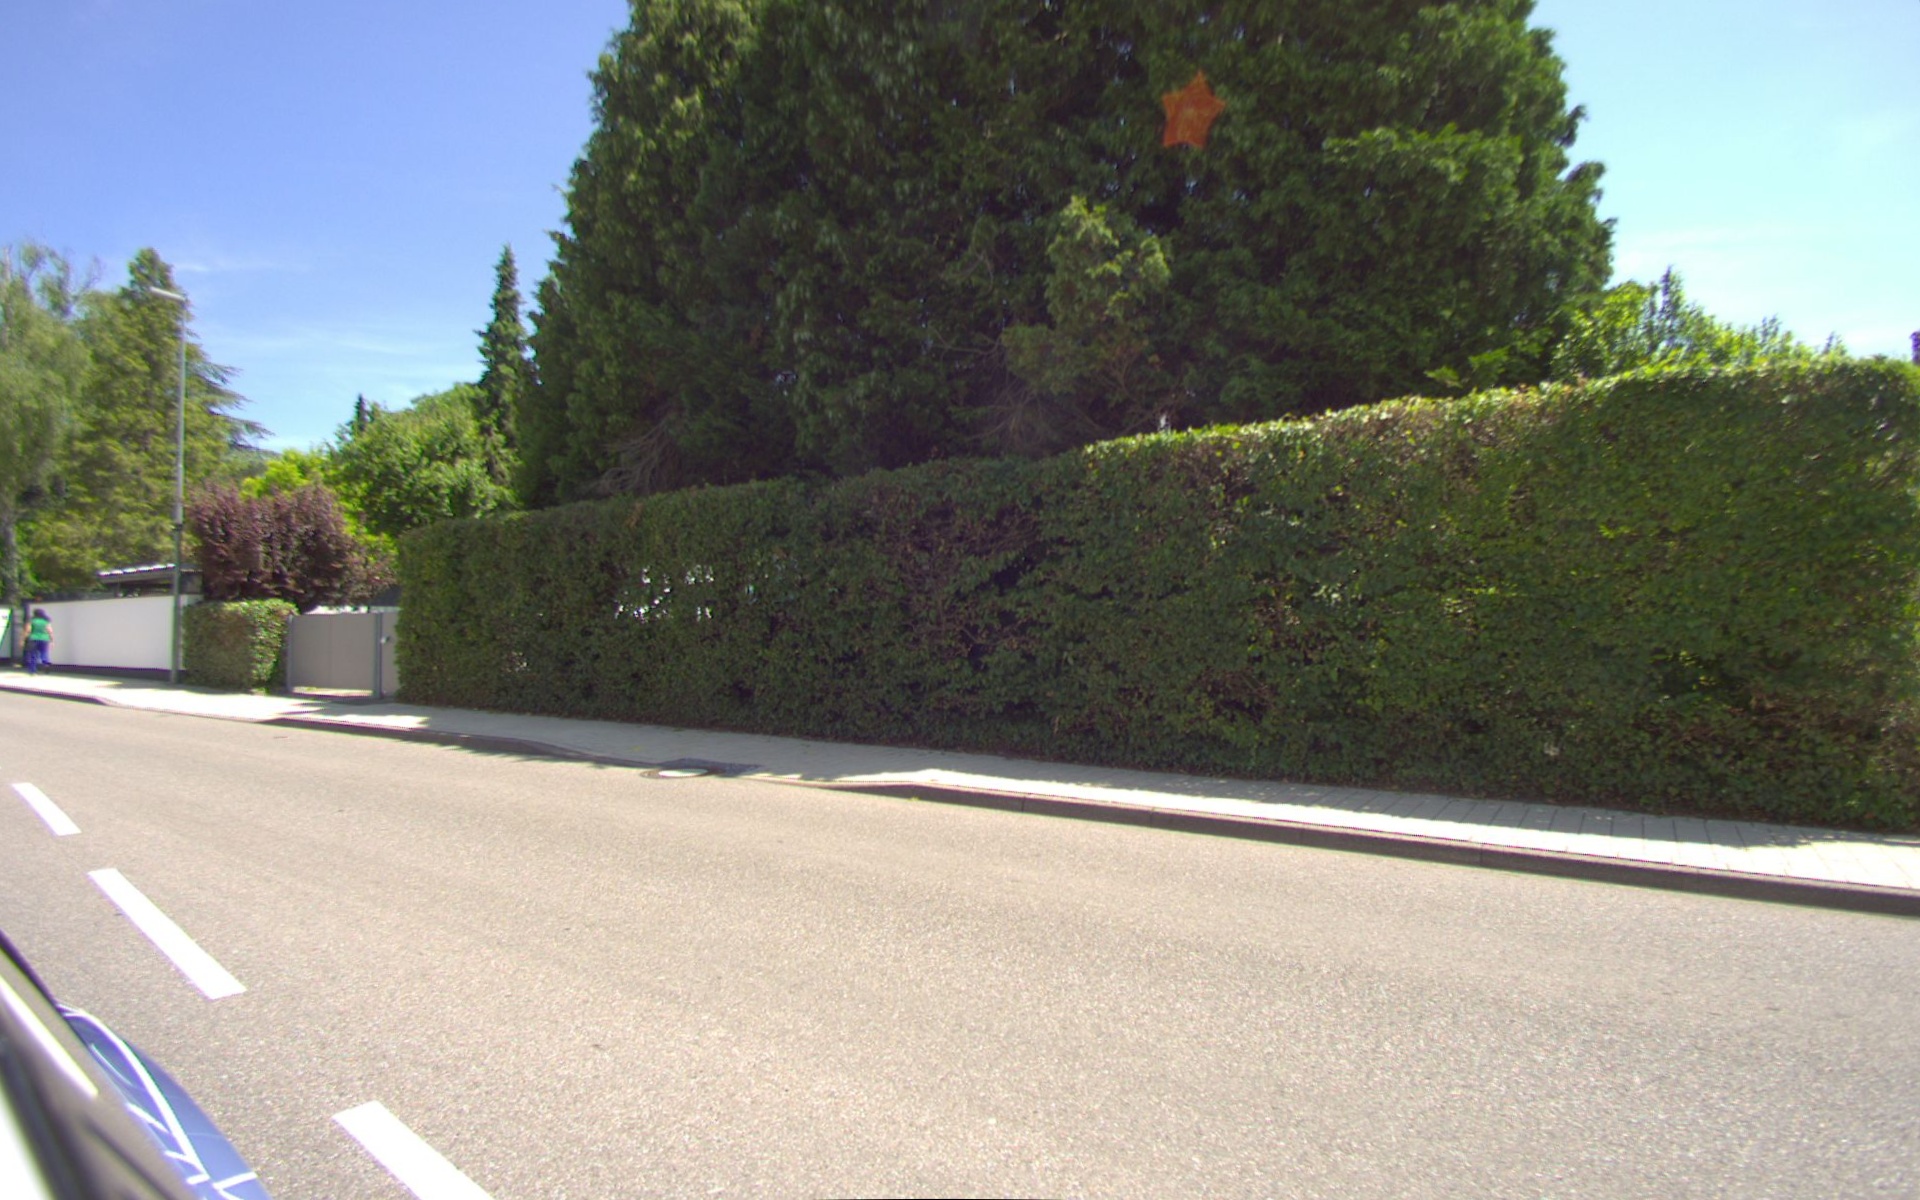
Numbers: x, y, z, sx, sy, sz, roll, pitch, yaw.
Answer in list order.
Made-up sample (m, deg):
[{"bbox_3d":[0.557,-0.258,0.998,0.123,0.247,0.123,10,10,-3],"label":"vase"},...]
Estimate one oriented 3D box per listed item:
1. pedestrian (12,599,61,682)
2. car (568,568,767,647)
[{"bbox_3d":[-22.989,0.981,25.191,0.801,2.029,0.715,0,0,32],"label":"pedestrian"},{"bbox_3d":[-7.632,0.170,26.835,2.157,1.908,4.757,0,0,37],"label":"car"}]
